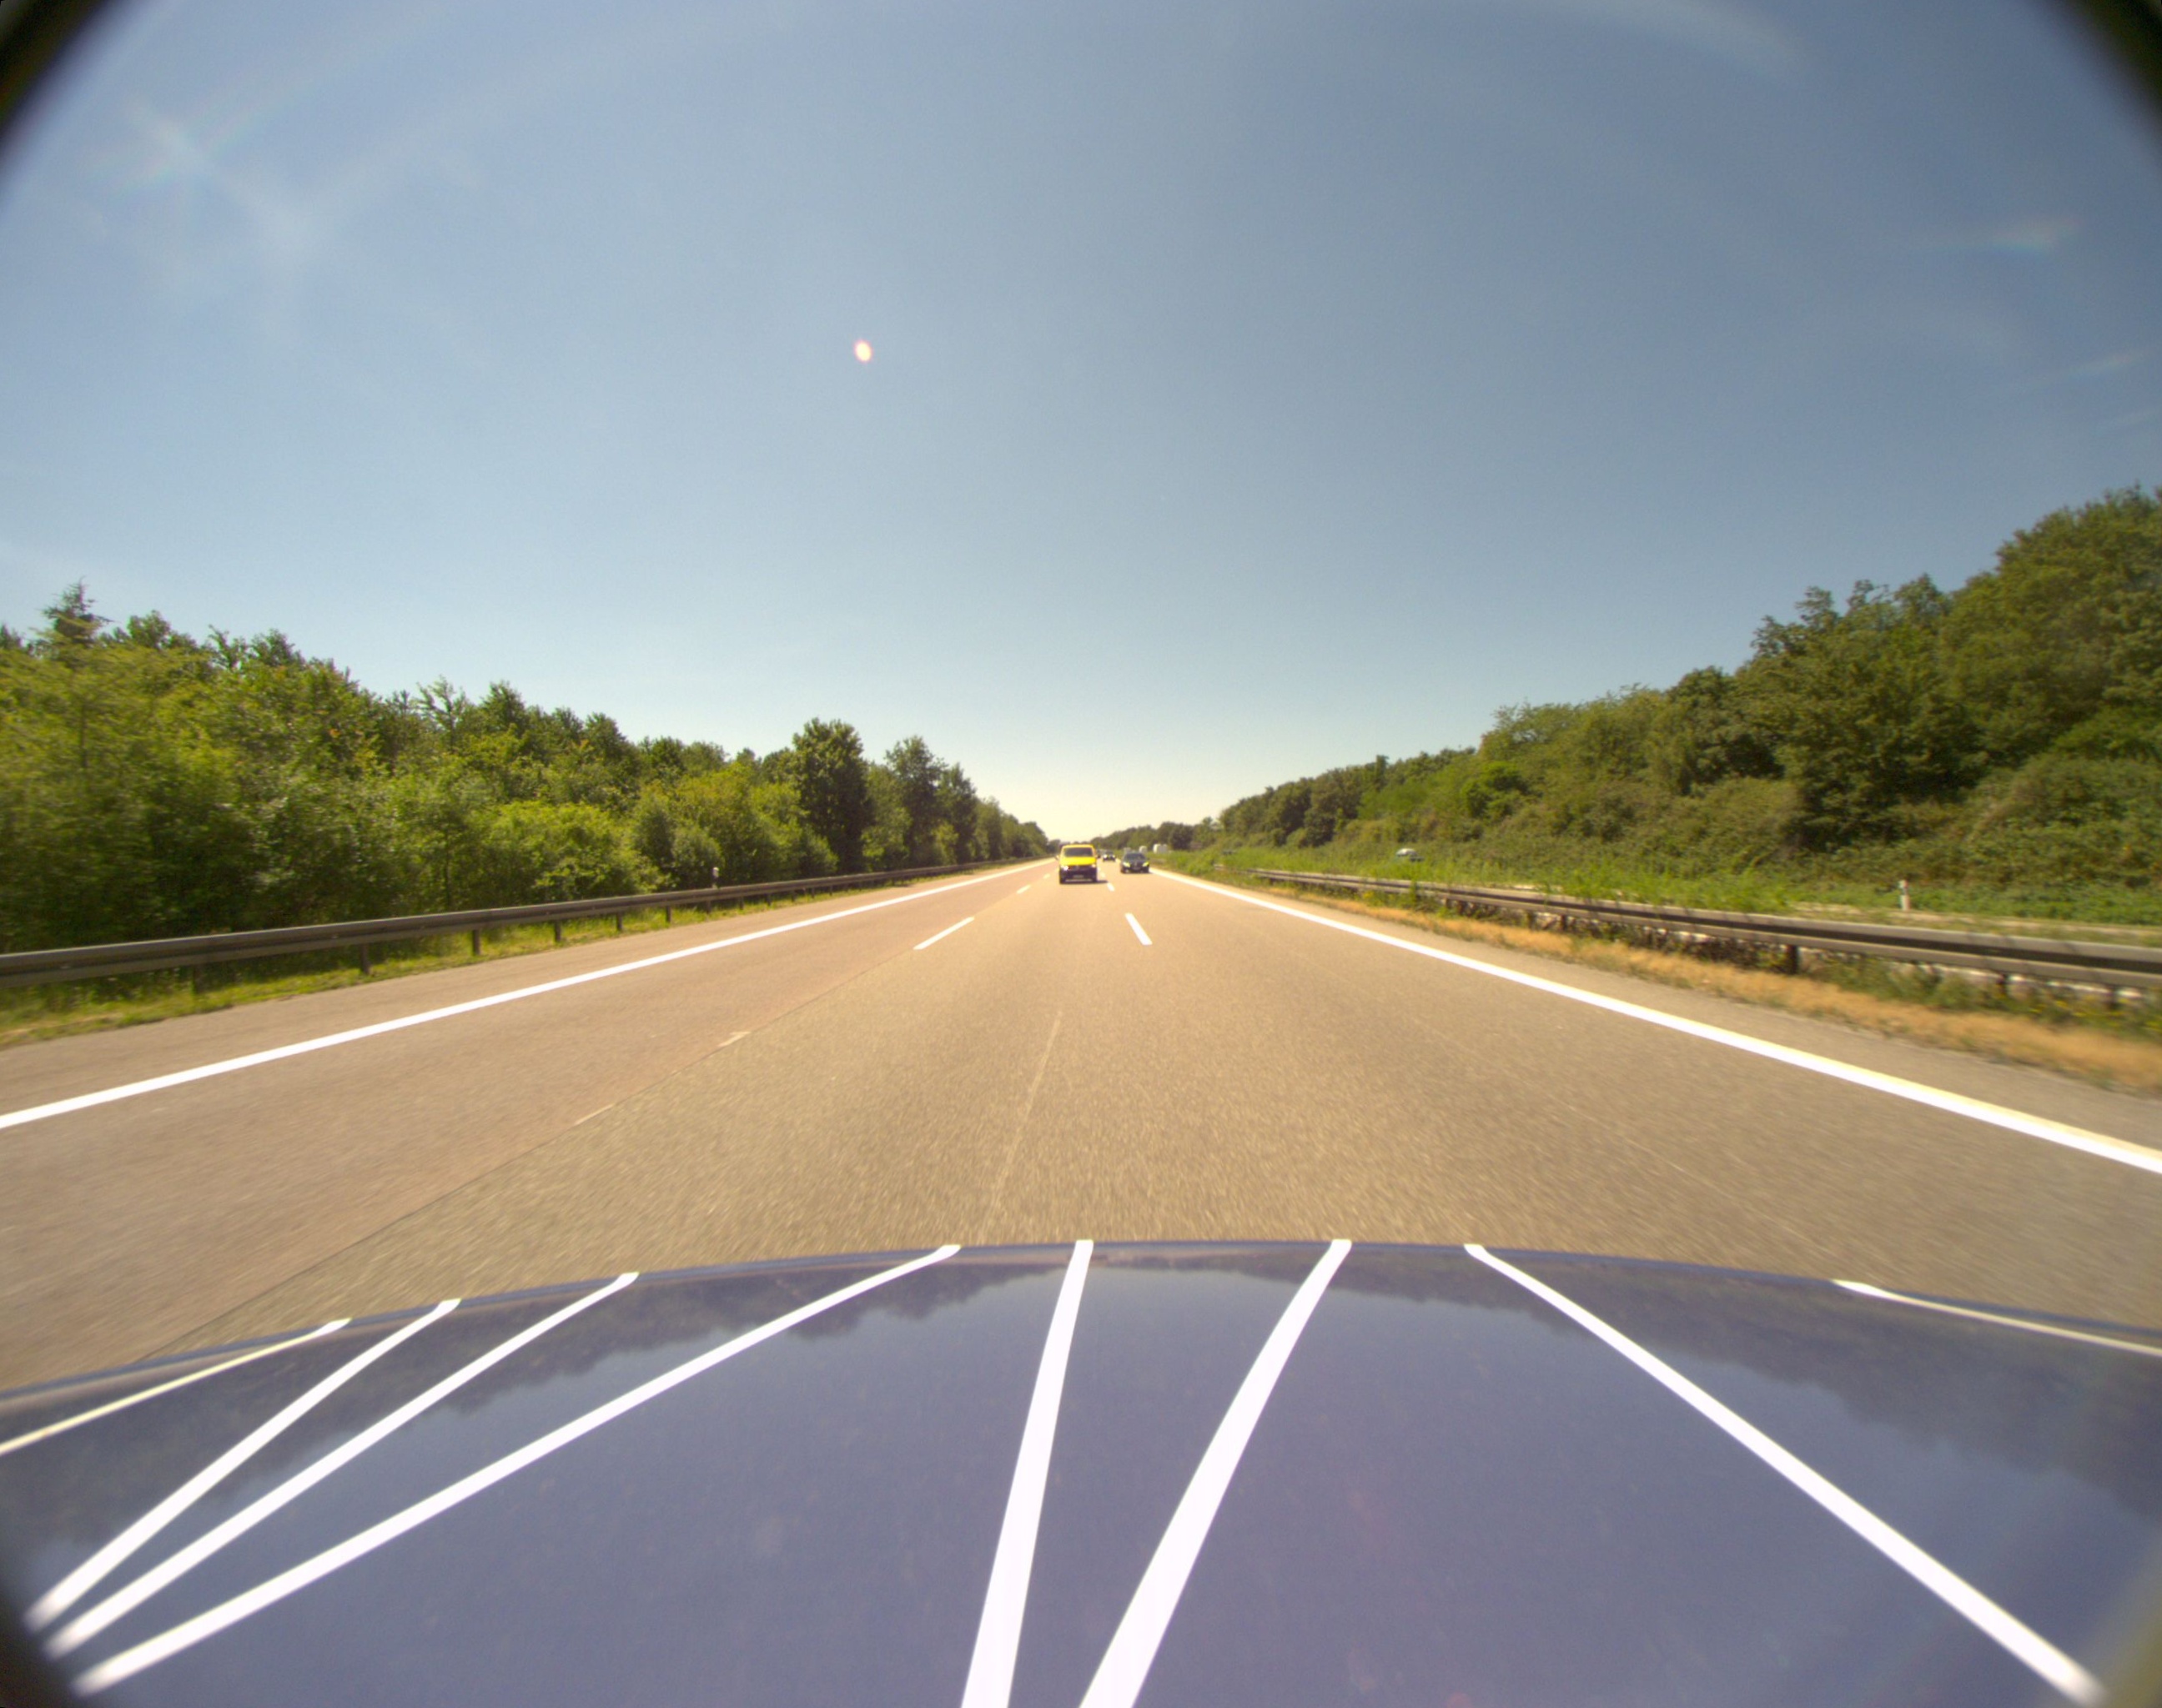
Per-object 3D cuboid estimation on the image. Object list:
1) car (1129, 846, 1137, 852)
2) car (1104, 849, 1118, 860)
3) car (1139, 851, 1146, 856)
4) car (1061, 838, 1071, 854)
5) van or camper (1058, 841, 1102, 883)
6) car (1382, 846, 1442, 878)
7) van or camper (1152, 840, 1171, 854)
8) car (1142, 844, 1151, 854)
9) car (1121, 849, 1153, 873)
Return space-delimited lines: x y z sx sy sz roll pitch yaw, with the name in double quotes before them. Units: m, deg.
"car" 14.665 -1.399 213.641 1.998 1.558 5.043 0 0 0
"car" 4.365 0.099 110.670 1.894 1.541 4.038 1 1 0
"car" 19.868 -0.269 244.236 1.746 1.499 4.415 -2 1 0
"car" -3.603 -1.925 182.529 2.298 3.886 9.267 1 1 0
"van or camper" 0.049 0.372 39.479 2.063 1.992 5.884 -1 1 2
"car" 21.012 0.451 48.418 1.998 1.904 4.303 -1 1 0
"van or camper" 13.903 -1.183 131.247 2.431 2.352 6.335 -2 1 0
"car" 18.579 -1.495 216.383 2.041 2.731 6.657 1 1 0
"car" 3.878 0.462 52.880 1.894 1.541 4.038 1 1 0
